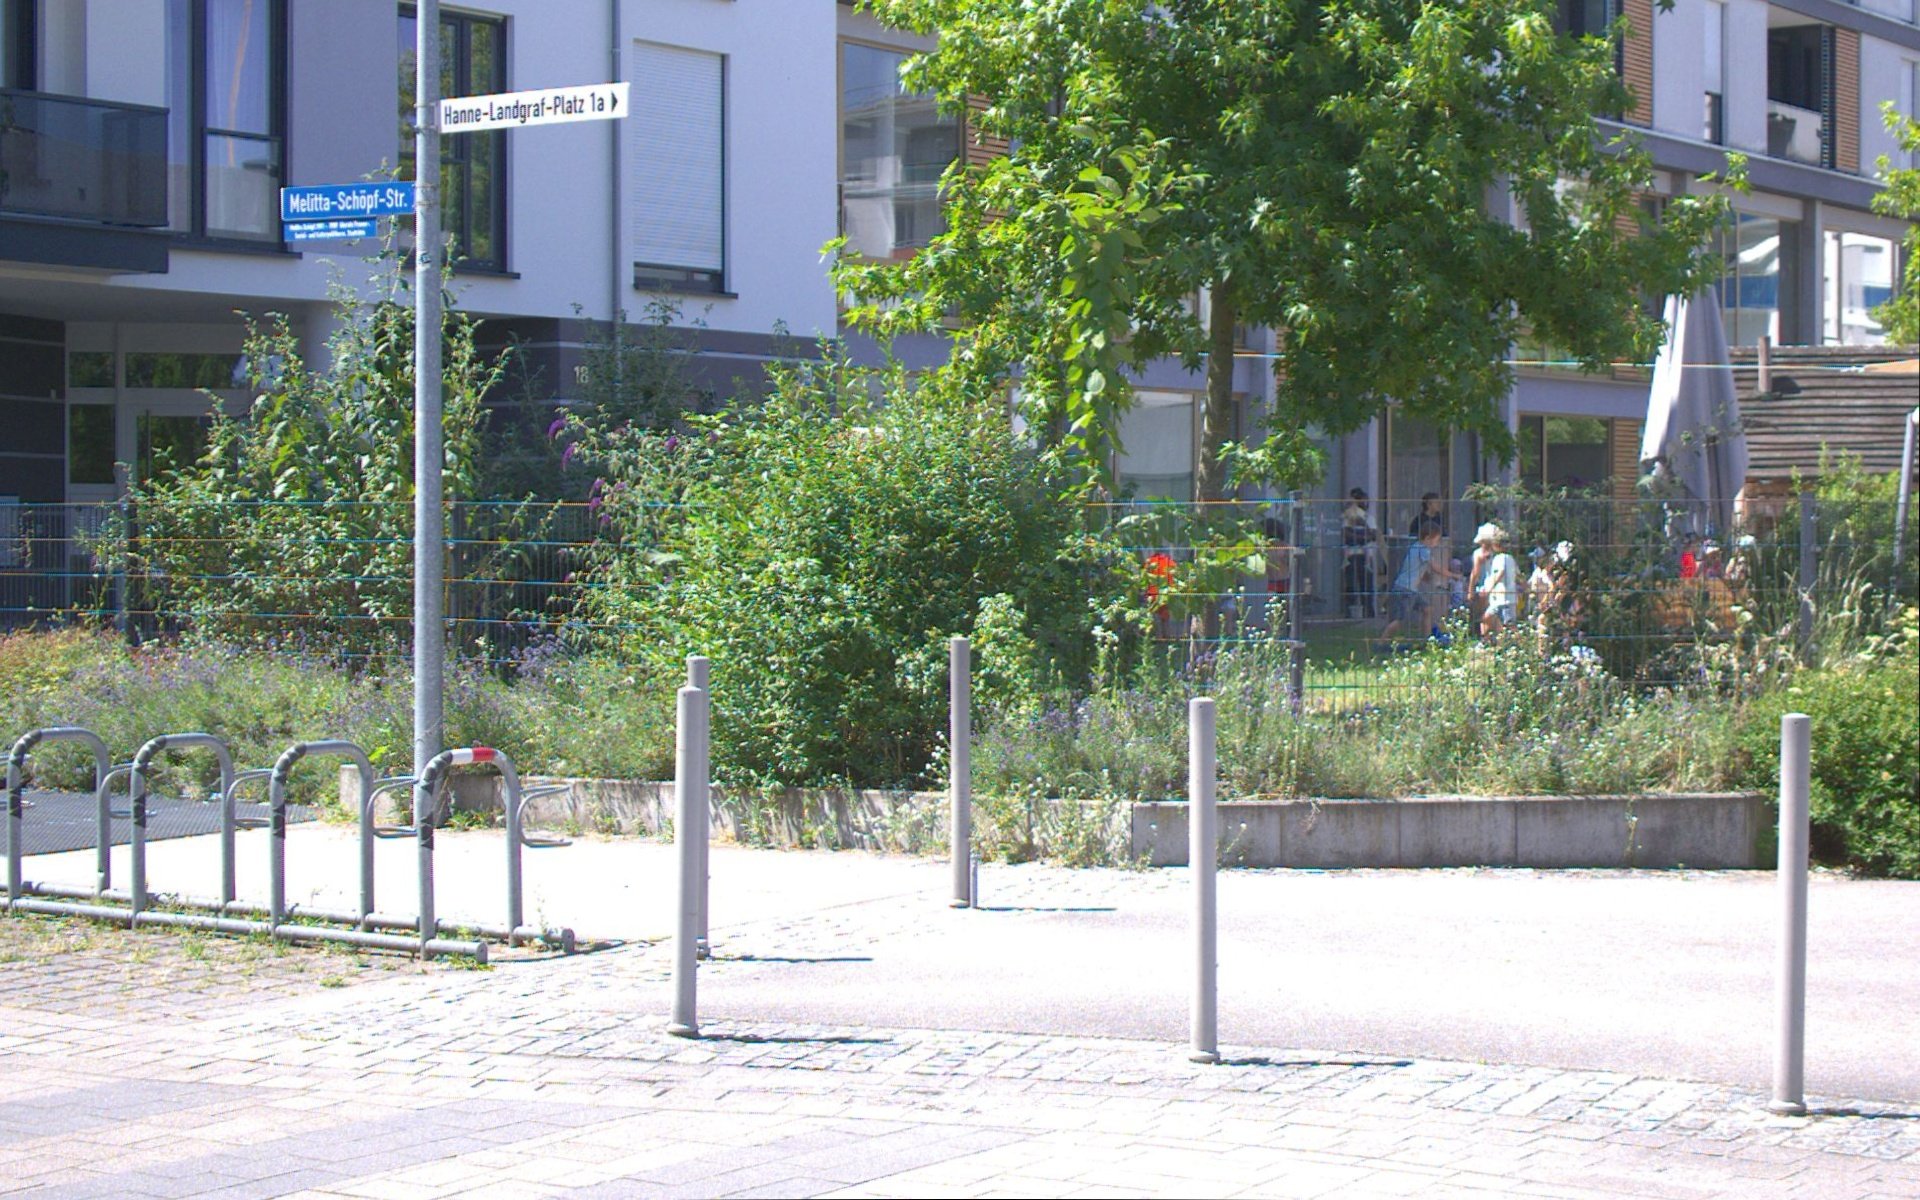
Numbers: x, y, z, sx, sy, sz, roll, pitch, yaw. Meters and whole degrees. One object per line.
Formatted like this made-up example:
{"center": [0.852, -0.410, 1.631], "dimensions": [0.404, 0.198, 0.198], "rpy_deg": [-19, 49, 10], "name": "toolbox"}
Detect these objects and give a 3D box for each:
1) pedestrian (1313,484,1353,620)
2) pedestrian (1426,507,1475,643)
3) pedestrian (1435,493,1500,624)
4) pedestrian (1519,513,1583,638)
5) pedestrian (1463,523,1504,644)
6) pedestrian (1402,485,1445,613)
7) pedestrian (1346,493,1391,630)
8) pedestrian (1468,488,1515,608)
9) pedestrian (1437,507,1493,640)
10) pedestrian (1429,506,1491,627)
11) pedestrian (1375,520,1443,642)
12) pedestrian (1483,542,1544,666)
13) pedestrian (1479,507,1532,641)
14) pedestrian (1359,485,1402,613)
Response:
{"center": [4.646, -0.601, 42.808], "dimensions": [0.336, 1.685, 0.462], "rpy_deg": [1, 1, 28], "name": "pedestrian"}
{"center": [3.811, -0.197, 26.713], "dimensions": [0.289, 1.050, 0.289], "rpy_deg": [0, 1, -12], "name": "pedestrian"}
{"center": [3.989, -0.327, 27.023], "dimensions": [0.410, 1.021, 0.282], "rpy_deg": [0, 0, -22], "name": "pedestrian"}
{"center": [4.636, -0.195, 26.968], "dimensions": [0.289, 0.968, 0.387], "rpy_deg": [-1, 1, -43], "name": "pedestrian"}
{"center": [4.575, -0.146, 30.032], "dimensions": [0.321, 1.050, 0.290], "rpy_deg": [0, 1, 13], "name": "pedestrian"}
{"center": [5.459, -0.600, 40.495], "dimensions": [0.395, 1.503, 0.463], "rpy_deg": [0, 1, -5], "name": "pedestrian"}
{"center": [5.084, -0.482, 42.775], "dimensions": [0.396, 1.685, 0.462], "rpy_deg": [1, 1, 28], "name": "pedestrian"}
{"center": [6.709, -0.658, 43.396], "dimensions": [0.461, 1.503, 0.397], "rpy_deg": [0, 1, -10], "name": "pedestrian"}
{"center": [4.028, -0.212, 27.421], "dimensions": [0.289, 1.050, 0.322], "rpy_deg": [-1, 1, -36], "name": "pedestrian"}
{"center": [4.269, -0.284, 29.351], "dimensions": [0.410, 1.021, 0.315], "rpy_deg": [0, 0, -22], "name": "pedestrian"}
{"center": [3.652, -0.153, 27.961], "dimensions": [0.370, 0.983, 0.411], "rpy_deg": [1, 0, 39], "name": "pedestrian"}
{"center": [4.620, 0.034, 28.698], "dimensions": [0.396, 1.022, 0.411], "rpy_deg": [1, 0, 25], "name": "pedestrian"}
{"center": [4.321, -0.207, 27.220], "dimensions": [0.289, 1.050, 0.286], "rpy_deg": [-1, 1, -36], "name": "pedestrian"}
{"center": [4.954, -0.603, 40.543], "dimensions": [0.395, 1.503, 0.463], "rpy_deg": [0, 1, -5], "name": "pedestrian"}
